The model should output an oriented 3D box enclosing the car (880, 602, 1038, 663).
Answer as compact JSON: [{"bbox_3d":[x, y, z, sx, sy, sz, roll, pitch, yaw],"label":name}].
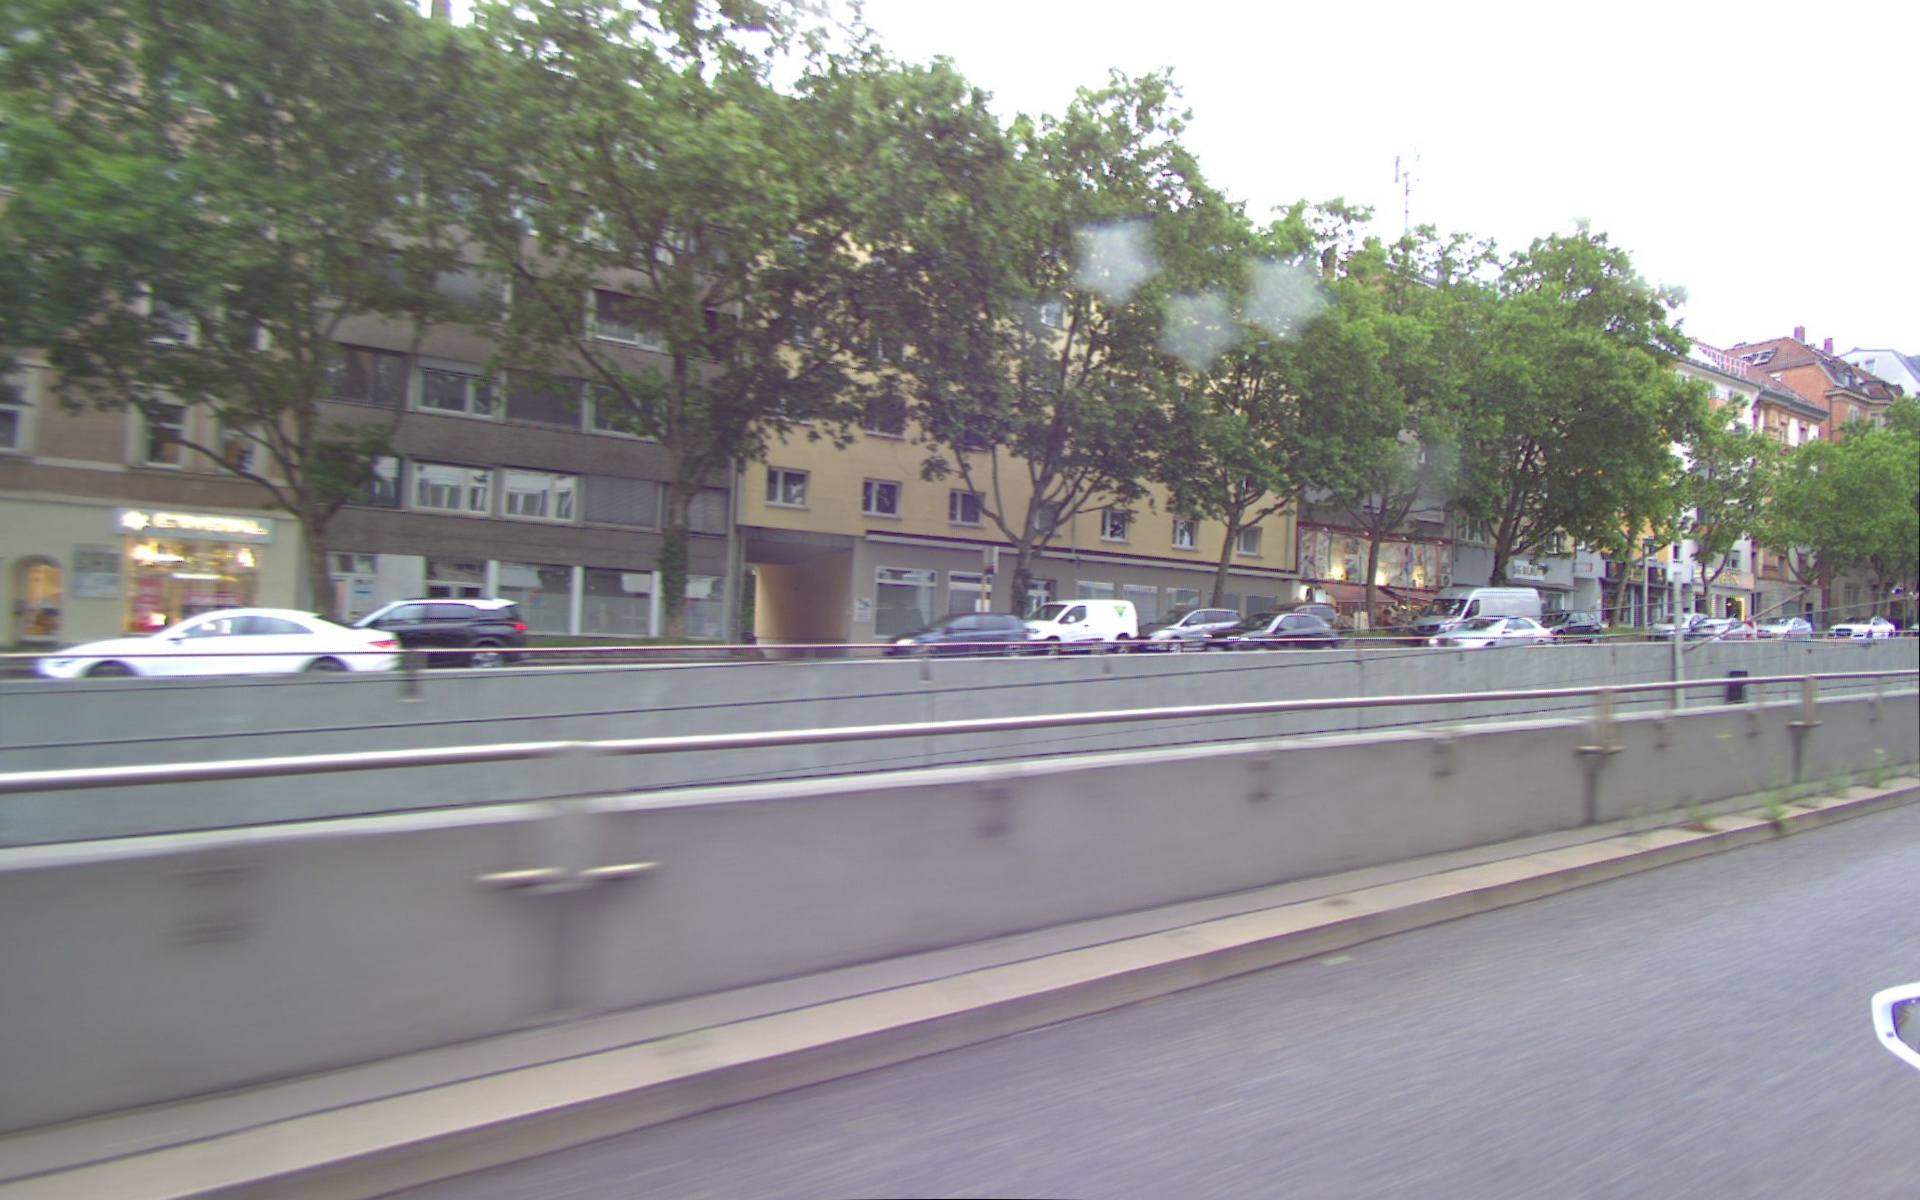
[{"bbox_3d":[-0.030,0.863,27.601,4.001,1.571,1.693,1,0,-21],"label":"car"}]

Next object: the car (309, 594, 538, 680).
[{"bbox_3d":[-10.858,0.705,20.505,3.969,1.601,1.785,1,0,-30],"label":"car"}]

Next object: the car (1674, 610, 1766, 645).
[{"bbox_3d":[34.632,1.240,45.774,3.966,1.530,1.839,1,0,-28],"label":"car"}]

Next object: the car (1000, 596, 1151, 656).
[{"bbox_3d":[3.792,0.814,32.679,4.850,1.788,1.865,1,0,-34],"label":"car"}]

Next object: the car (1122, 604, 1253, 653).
[{"bbox_3d":[7.971,0.974,35.034,4.422,1.604,1.867,1,0,-32],"label":"car"}]

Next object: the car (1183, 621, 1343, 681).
[{"bbox_3d":[8.433,1.393,27.887,4.293,1.530,1.786,2,-1,-30],"label":"car"}]

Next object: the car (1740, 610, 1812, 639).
[{"bbox_3d":[46.095,1.377,56.705,4.157,1.530,1.786,1,0,-30],"label":"car"}]

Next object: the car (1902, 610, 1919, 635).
[{"bbox_3d":[65.145,1.546,67.380,4.065,1.633,1.785,1,0,-31],"label":"car"}]

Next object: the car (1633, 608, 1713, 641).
[{"bbox_3d":[36.727,1.241,51.713,4.157,1.592,1.786,1,0,-30],"label":"car"}]

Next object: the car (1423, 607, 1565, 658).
[{"bbox_3d":[17.465,1.030,32.810,4.763,1.530,1.838,1,0,-30],"label":"car"}]

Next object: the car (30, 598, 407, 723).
[{"bbox_3d":[-11.699,0.944,16.345,4.675,1.793,1.786,2,-1,-30],"label":"car"}]

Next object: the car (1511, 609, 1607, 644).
[{"bbox_3d":[27.601,1.190,46.225,4.617,1.530,1.785,1,0,-30],"label":"car"}]

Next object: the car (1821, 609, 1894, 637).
[{"bbox_3d":[55.498,1.417,62.111,5.138,1.622,1.917,1,0,-31],"label":"car"}]

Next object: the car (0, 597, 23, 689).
[{"bbox_3d":[-17.976,0.694,16.162,3.958,1.530,1.783,1,0,-34],"label":"car"}]

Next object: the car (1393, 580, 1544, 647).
[{"bbox_3d":[21.931,0.561,43.220,6.850,2.698,2.441,1,0,-30],"label":"car"}]
